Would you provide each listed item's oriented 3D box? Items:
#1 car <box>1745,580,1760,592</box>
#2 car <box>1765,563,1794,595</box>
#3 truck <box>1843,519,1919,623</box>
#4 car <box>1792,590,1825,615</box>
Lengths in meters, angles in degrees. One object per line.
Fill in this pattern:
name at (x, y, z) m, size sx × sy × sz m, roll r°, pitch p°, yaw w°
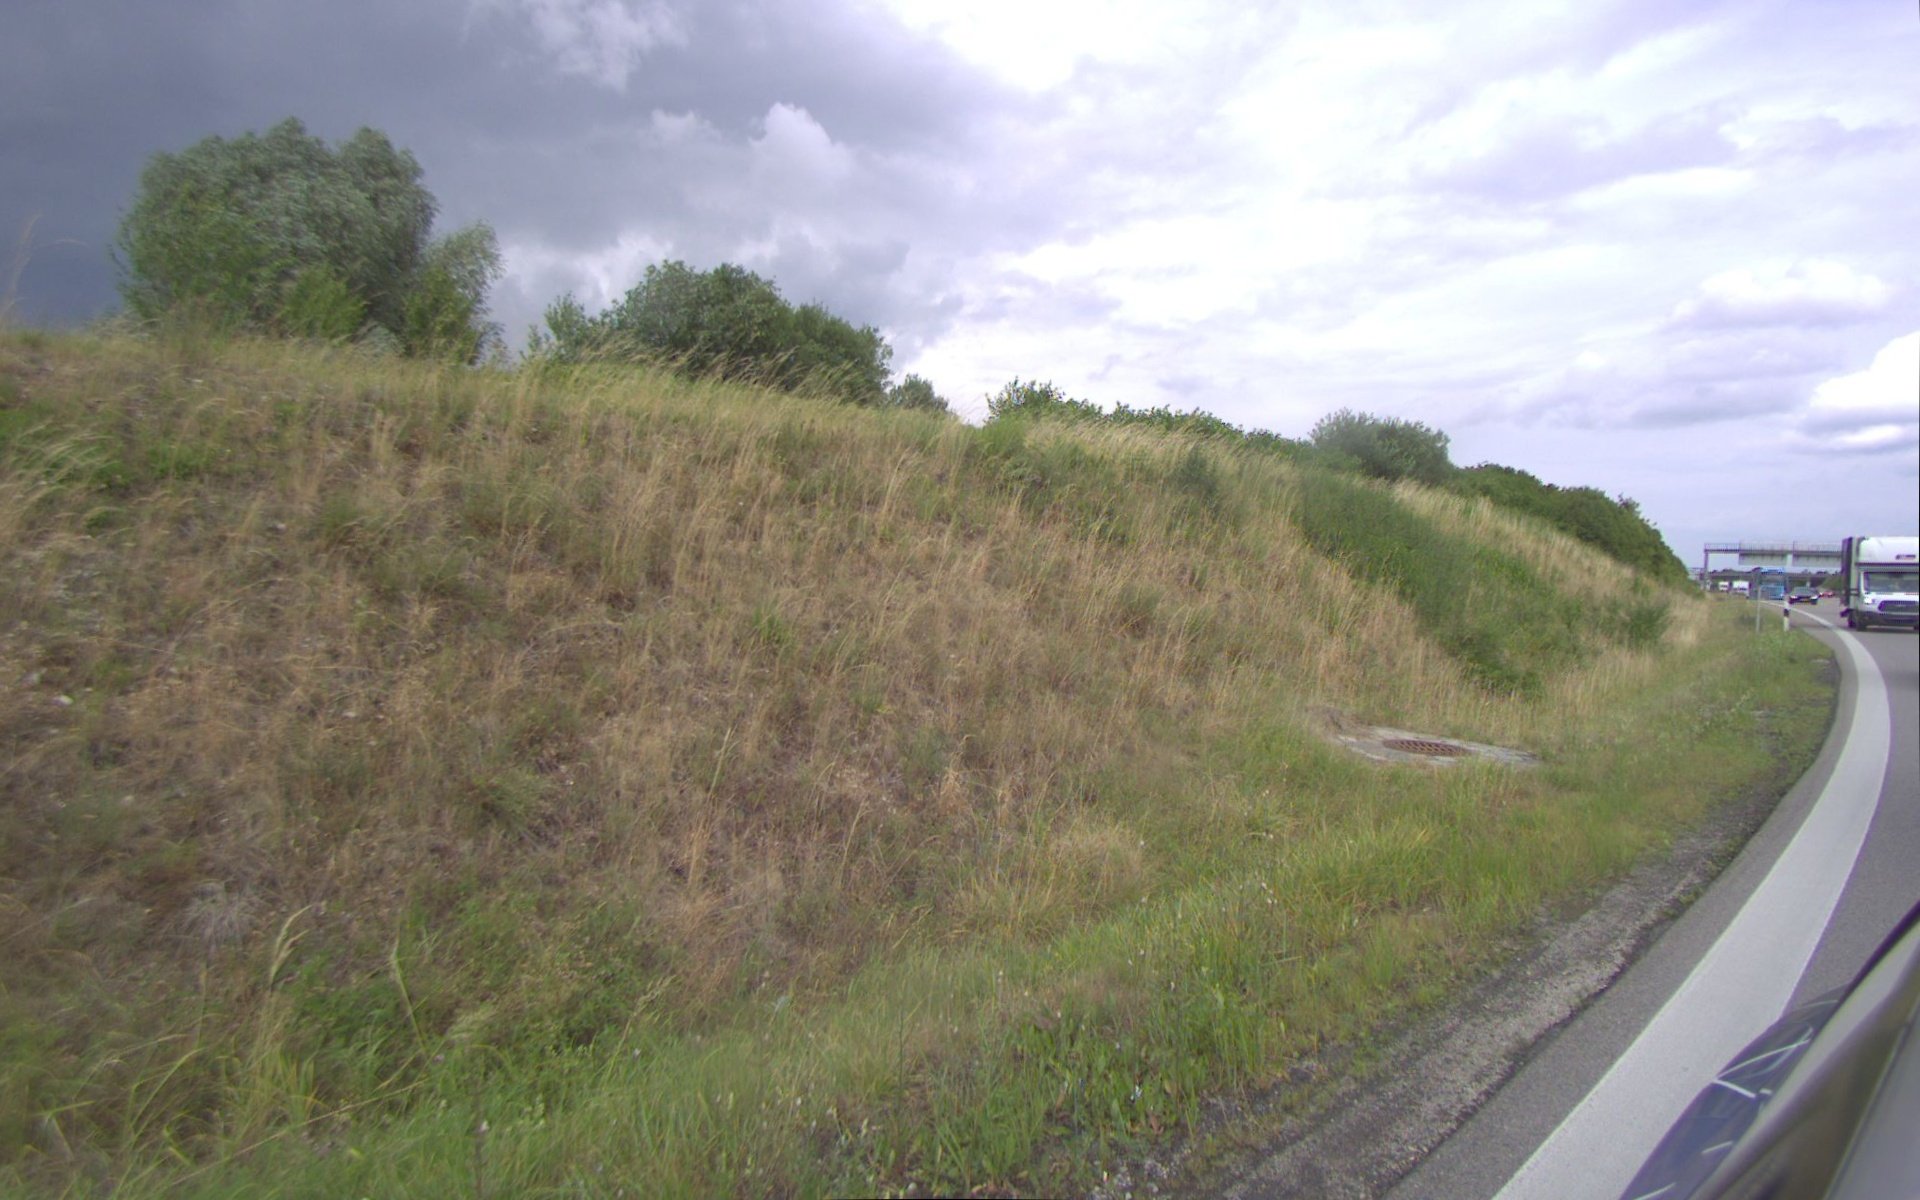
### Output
car at (135.861, -2.391, 173.566) m, size 1.921 × 2.057 × 3.946 m, roll 2°, pitch 2°, yaw 38°
car at (101.342, -2.581, 125.208) m, size 2.492 × 3.757 × 7.599 m, roll 2°, pitch 2°, yaw 37°
truck at (32.222, -0.962, 34.685) m, size 2.437 × 3.275 × 7.094 m, roll 2°, pitch 2°, yaw 38°
car at (73.753, 0.161, 87.982) m, size 1.989 × 2.038 × 3.946 m, roll 2°, pitch 2°, yaw 37°
